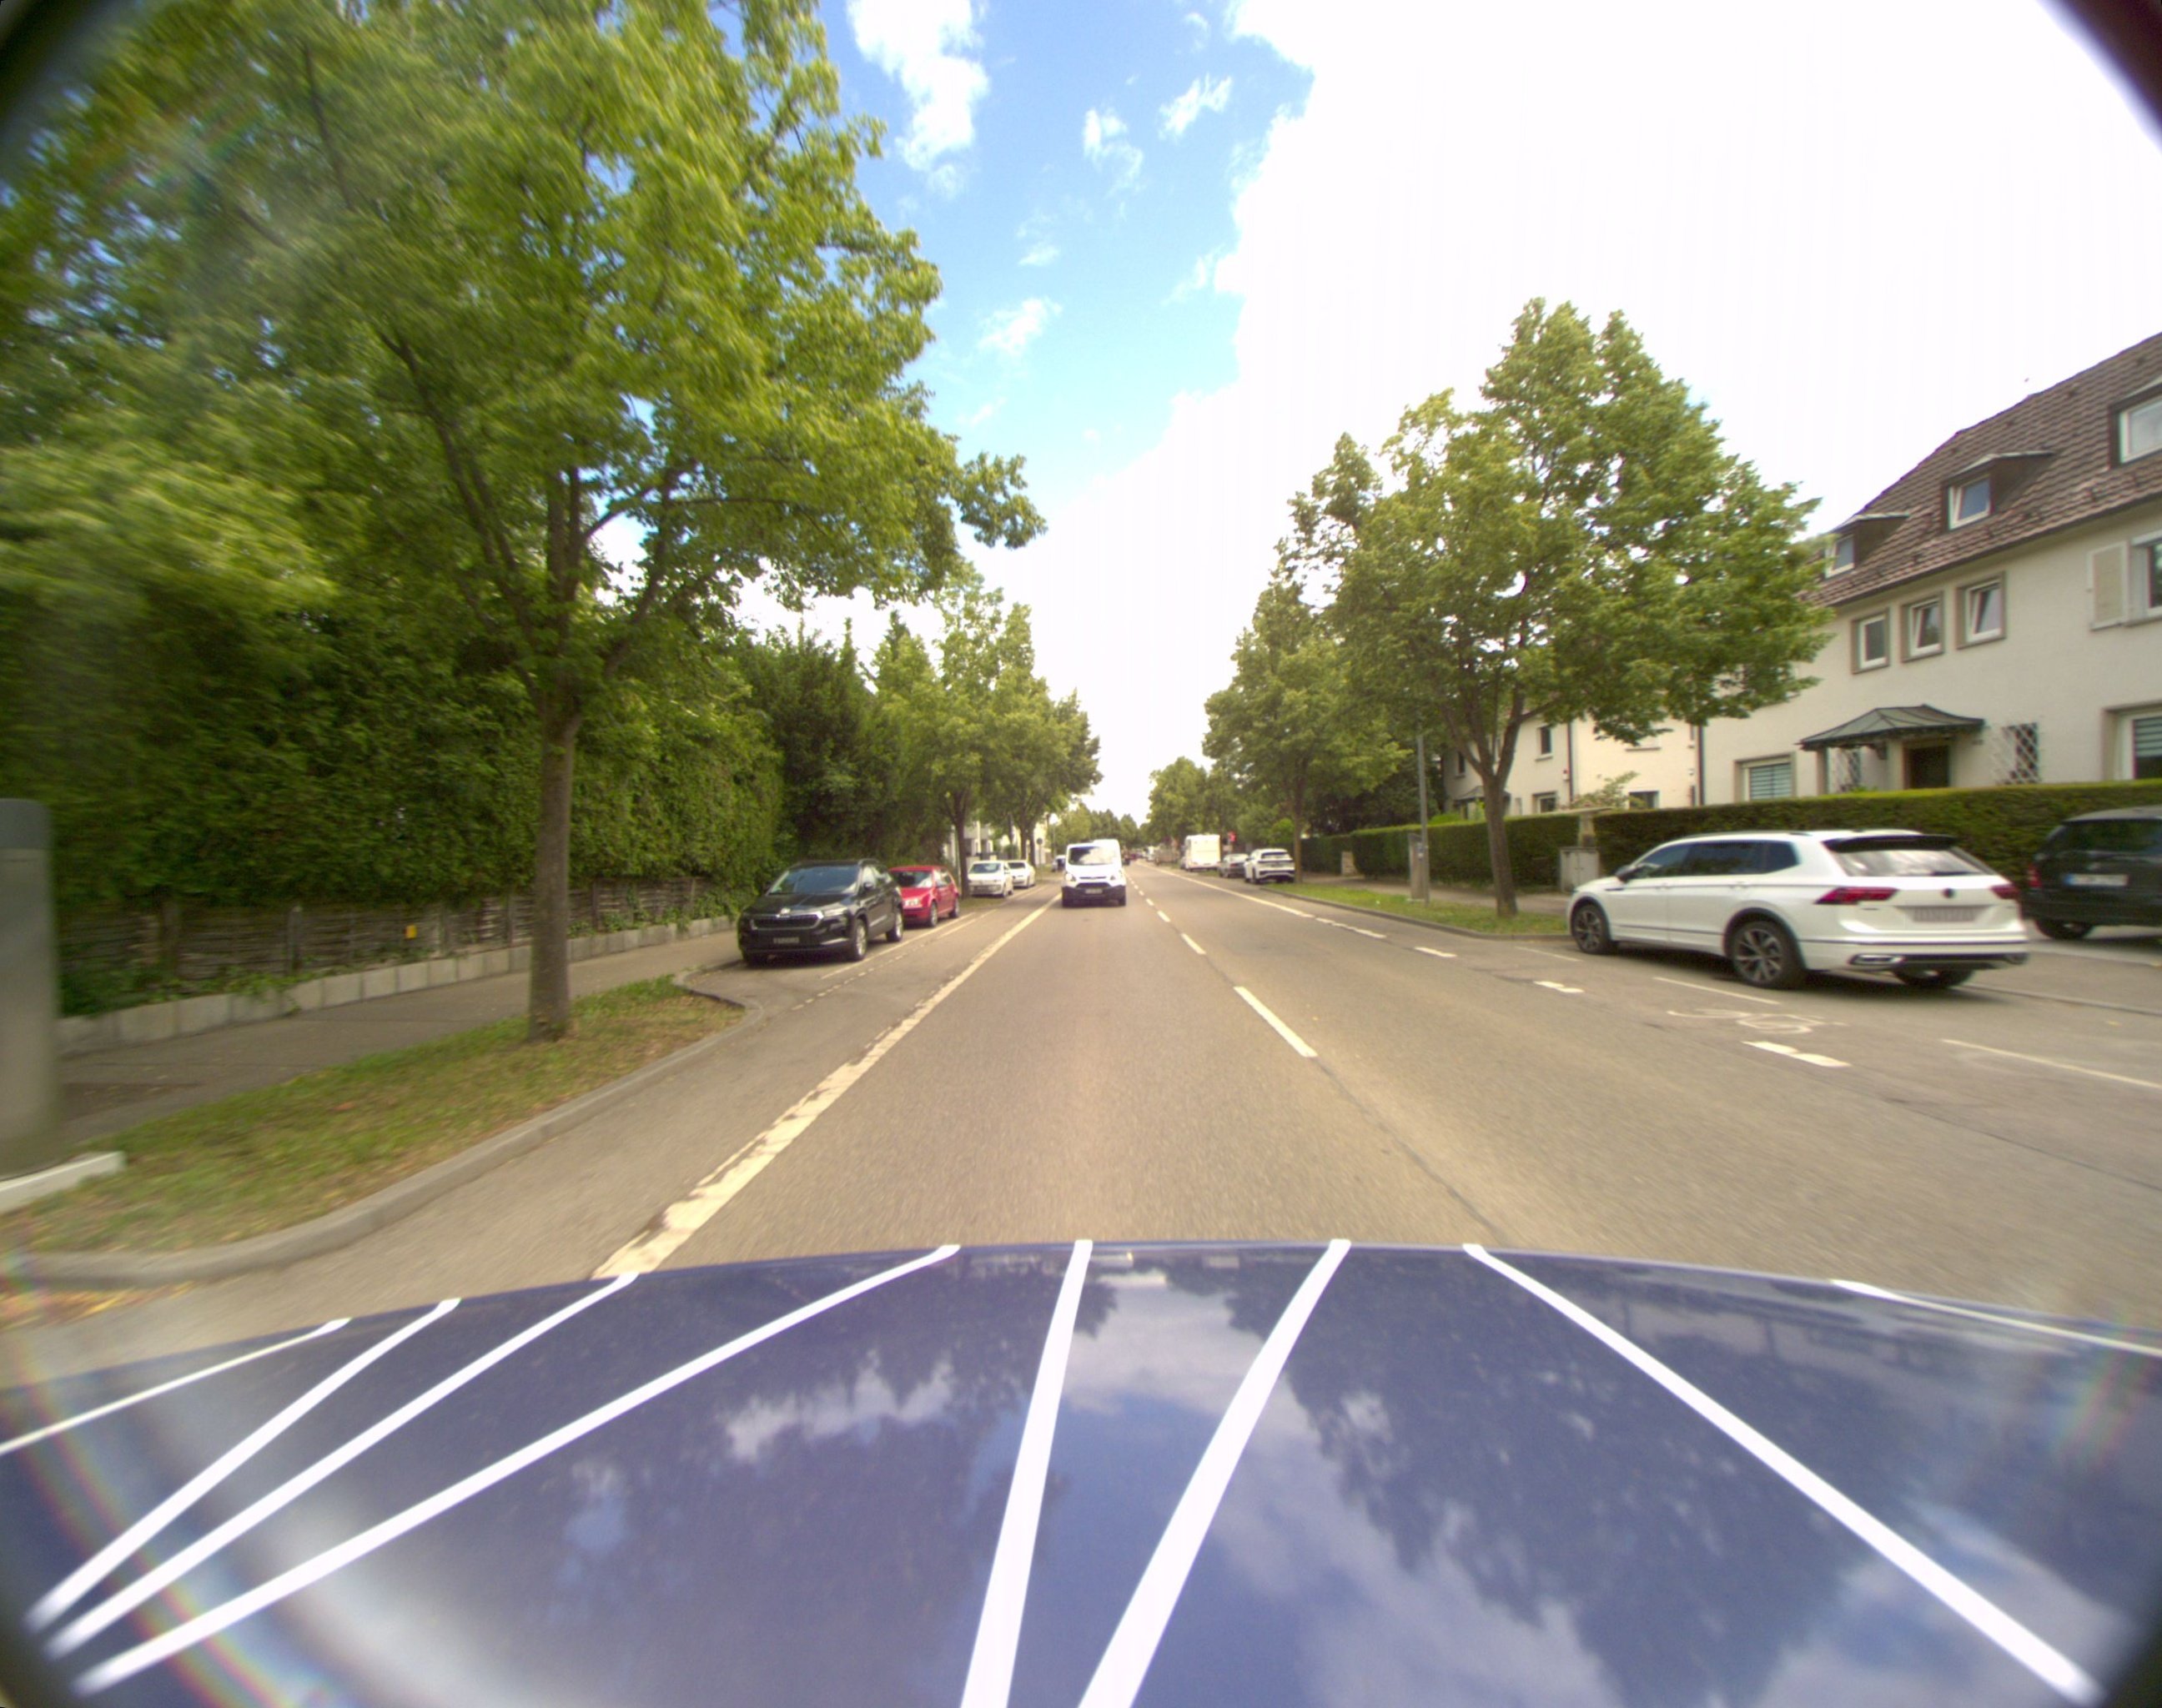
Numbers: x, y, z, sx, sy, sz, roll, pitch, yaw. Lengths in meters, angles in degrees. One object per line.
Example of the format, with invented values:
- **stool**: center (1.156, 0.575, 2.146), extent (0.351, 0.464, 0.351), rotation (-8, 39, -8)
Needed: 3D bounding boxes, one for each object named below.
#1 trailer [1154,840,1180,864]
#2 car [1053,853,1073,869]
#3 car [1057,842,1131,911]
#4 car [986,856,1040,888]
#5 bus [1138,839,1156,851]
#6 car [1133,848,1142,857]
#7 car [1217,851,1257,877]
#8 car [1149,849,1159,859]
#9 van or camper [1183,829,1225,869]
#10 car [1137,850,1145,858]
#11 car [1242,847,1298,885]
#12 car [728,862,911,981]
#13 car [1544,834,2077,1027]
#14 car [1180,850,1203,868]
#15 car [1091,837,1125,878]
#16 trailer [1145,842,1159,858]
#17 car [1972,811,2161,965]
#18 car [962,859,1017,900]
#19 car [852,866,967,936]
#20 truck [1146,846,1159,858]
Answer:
- **trailer**: center (11.252, -0.360, 100.038), extent (2.680, 2.924, 7.475), rotation (-2, 1, 2)
- **car**: center (-1.808, 0.718, 76.524), extent (1.691, 1.484, 4.227), rotation (-1, 0, 2)
- **car**: center (0.561, 0.653, 25.222), extent (1.998, 2.002, 5.320), rotation (-2, 0, 5)
- **car**: center (-3.415, 0.858, 39.159), extent (2.025, 1.435, 5.025), rotation (-2, 0, 3)
- **bus**: center (19.724, -2.583, 225.862), extent (2.809, 3.269, 18.060), rotation (3, 1, 12)
- **car**: center (11.949, -0.365, 160.413), extent (1.764, 1.792, 4.769), rotation (-2, 0, 2)
- **car**: center (9.470, 0.585, 46.493), extent (1.559, 1.461, 4.452), rotation (-2, 0, 1)
- **car**: center (13.490, -0.019, 141.210), extent (1.692, 1.674, 4.226), rotation (-2, 1, 4)
- **van or camper**: center (10.008, -0.404, 62.487), extent (2.441, 2.992, 7.693), rotation (-2, 0, 3)
- **car**: center (15.550, -0.103, 196.530), extent (1.997, 2.002, 4.002), rotation (-2, 0, 8)
- **car**: center (8.995, 0.536, 36.539), extent (1.821, 1.642, 4.700), rotation (-2, 0, 4)
- **car**: center (-4.256, 0.999, 13.097), extent (1.642, 1.606, 4.169), rotation (-2, 0, 0)
- **car**: center (7.953, 0.672, 9.181), extent (1.878, 1.678, 4.866), rotation (-1, 0, 2)
- **car**: center (10.306, 0.424, 70.940), extent (1.726, 1.591, 4.273), rotation (-2, 0, 3)
- **car**: center (1.832, 0.222, 50.612), extent (1.998, 2.584, 4.001), rotation (-2, 0, 5)
- **trailer**: center (13.776, -0.726, 147.757), extent (2.377, 2.946, 7.014), rotation (-1, 0, 8)
- **car**: center (13.203, 0.292, 8.535), extent (4.207, 1.576, 1.765), rotation (-1, 0, 2)
- **car**: center (-3.629, 0.984, 30.753), extent (1.619, 1.451, 3.657), rotation (-1, 0, 2)
- **car**: center (-4.081, 1.075, 18.730), extent (1.641, 1.412, 4.001), rotation (-1, 0, 4)
- **truck**: center (14.576, -0.425, 154.446), extent (2.299, 2.274, 6.466), rotation (-1, 0, 8)
